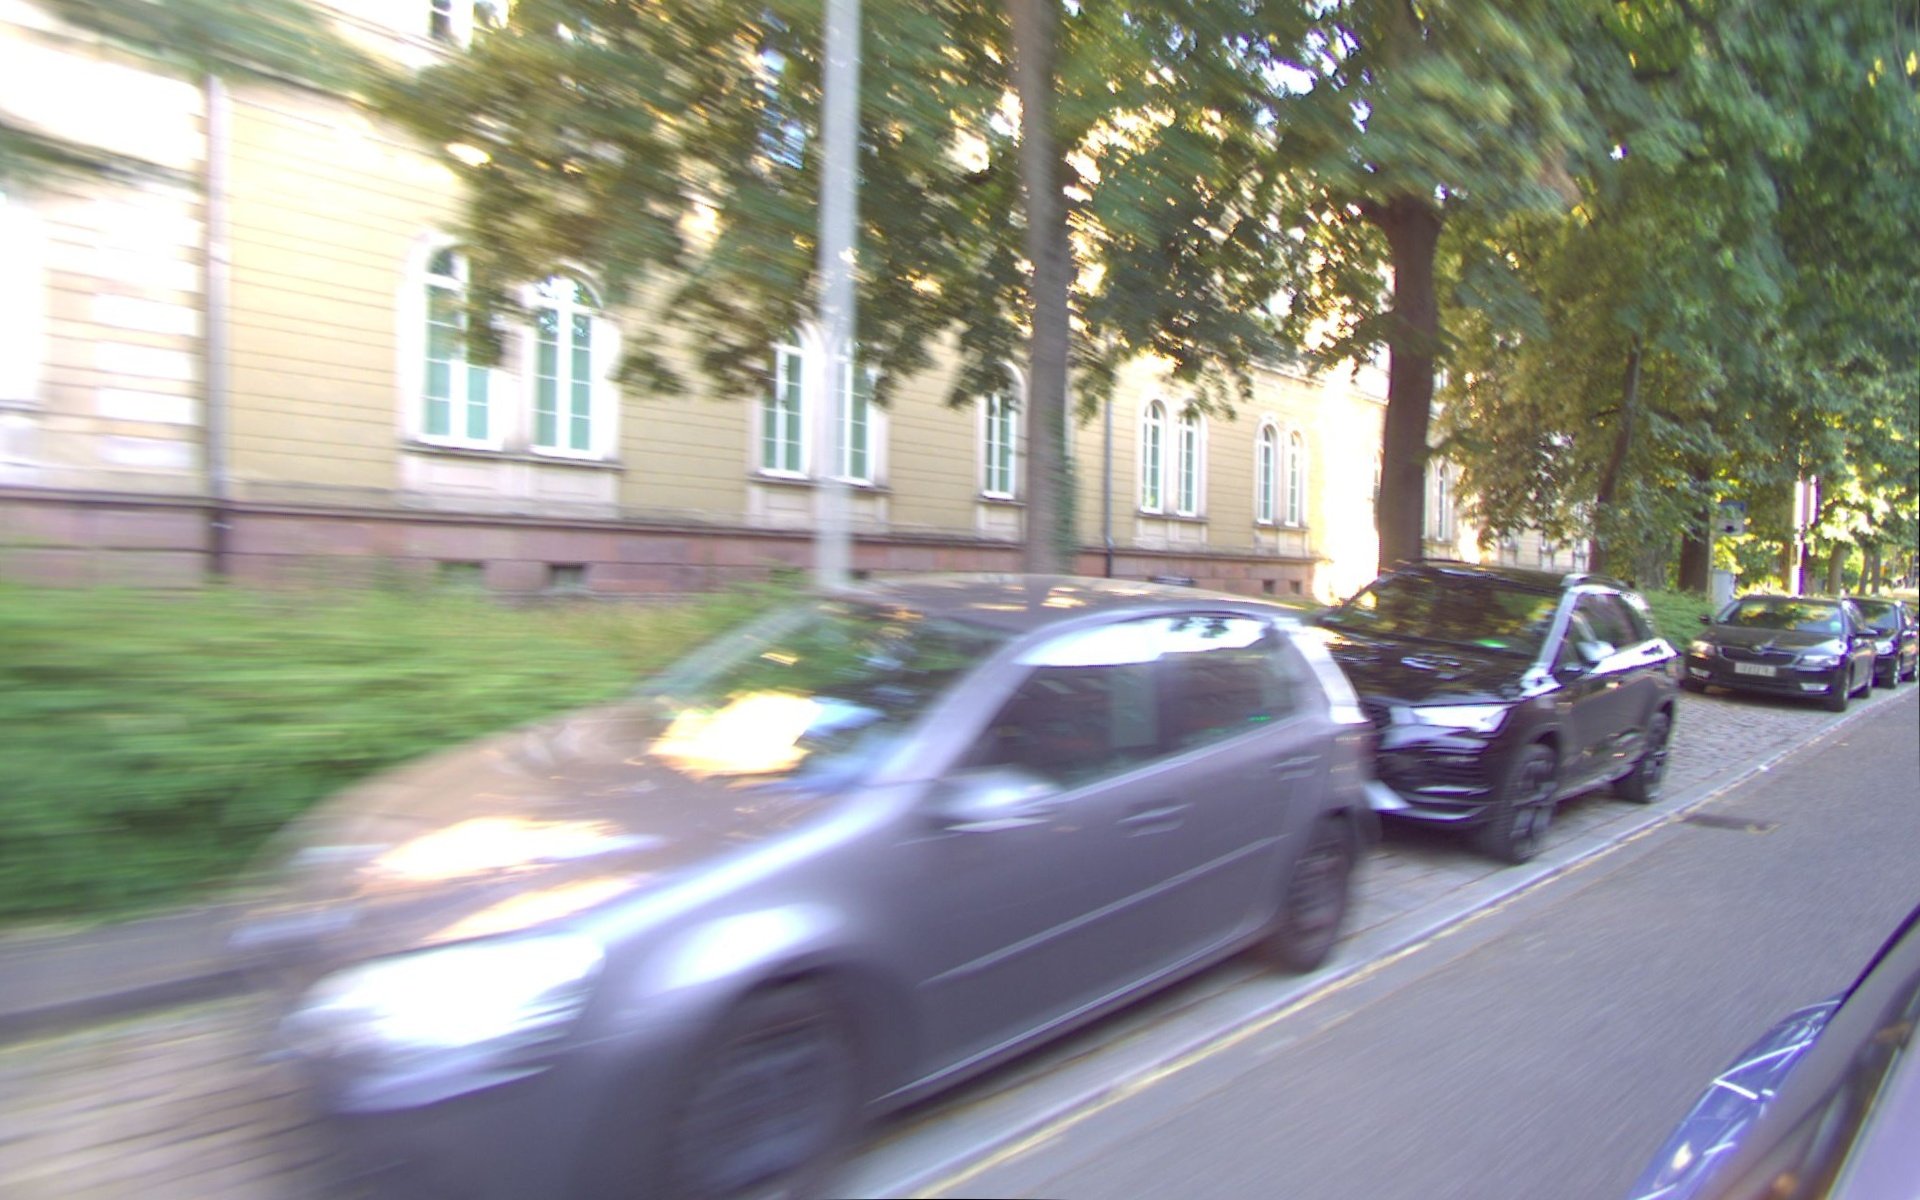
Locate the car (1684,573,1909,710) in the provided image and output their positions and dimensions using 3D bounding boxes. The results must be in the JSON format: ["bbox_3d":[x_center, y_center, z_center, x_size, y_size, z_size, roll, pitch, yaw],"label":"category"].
[{"bbox_3d":[12.068,0.455,14.498,4.445,1.524,1.739,-1,6,-42],"label":"car"}]

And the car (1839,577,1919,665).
[{"bbox_3d":[19.914,0.390,21.085,4.544,1.551,1.728,-2,7,-42],"label":"car"}]

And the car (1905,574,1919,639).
[{"bbox_3d":[29.243,0.165,29.474,4.858,1.835,1.809,-1,3,-39],"label":"car"}]

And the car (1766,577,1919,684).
[{"bbox_3d":[15.999,0.439,17.926,4.114,1.551,1.729,-1,6,-39],"label":"car"}]

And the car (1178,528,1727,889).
[{"bbox_3d":[3.612,0.485,7.017,4.342,1.670,1.811,0,6,-42],"label":"car"}]

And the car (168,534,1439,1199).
[{"bbox_3d":[-0.094,0.605,3.539,4.118,1.557,1.727,-1,3,-42],"label":"car"}]

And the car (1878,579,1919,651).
[{"bbox_3d":[24.960,0.345,25.869,4.422,1.703,1.727,-1,3,-42],"label":"car"}]
